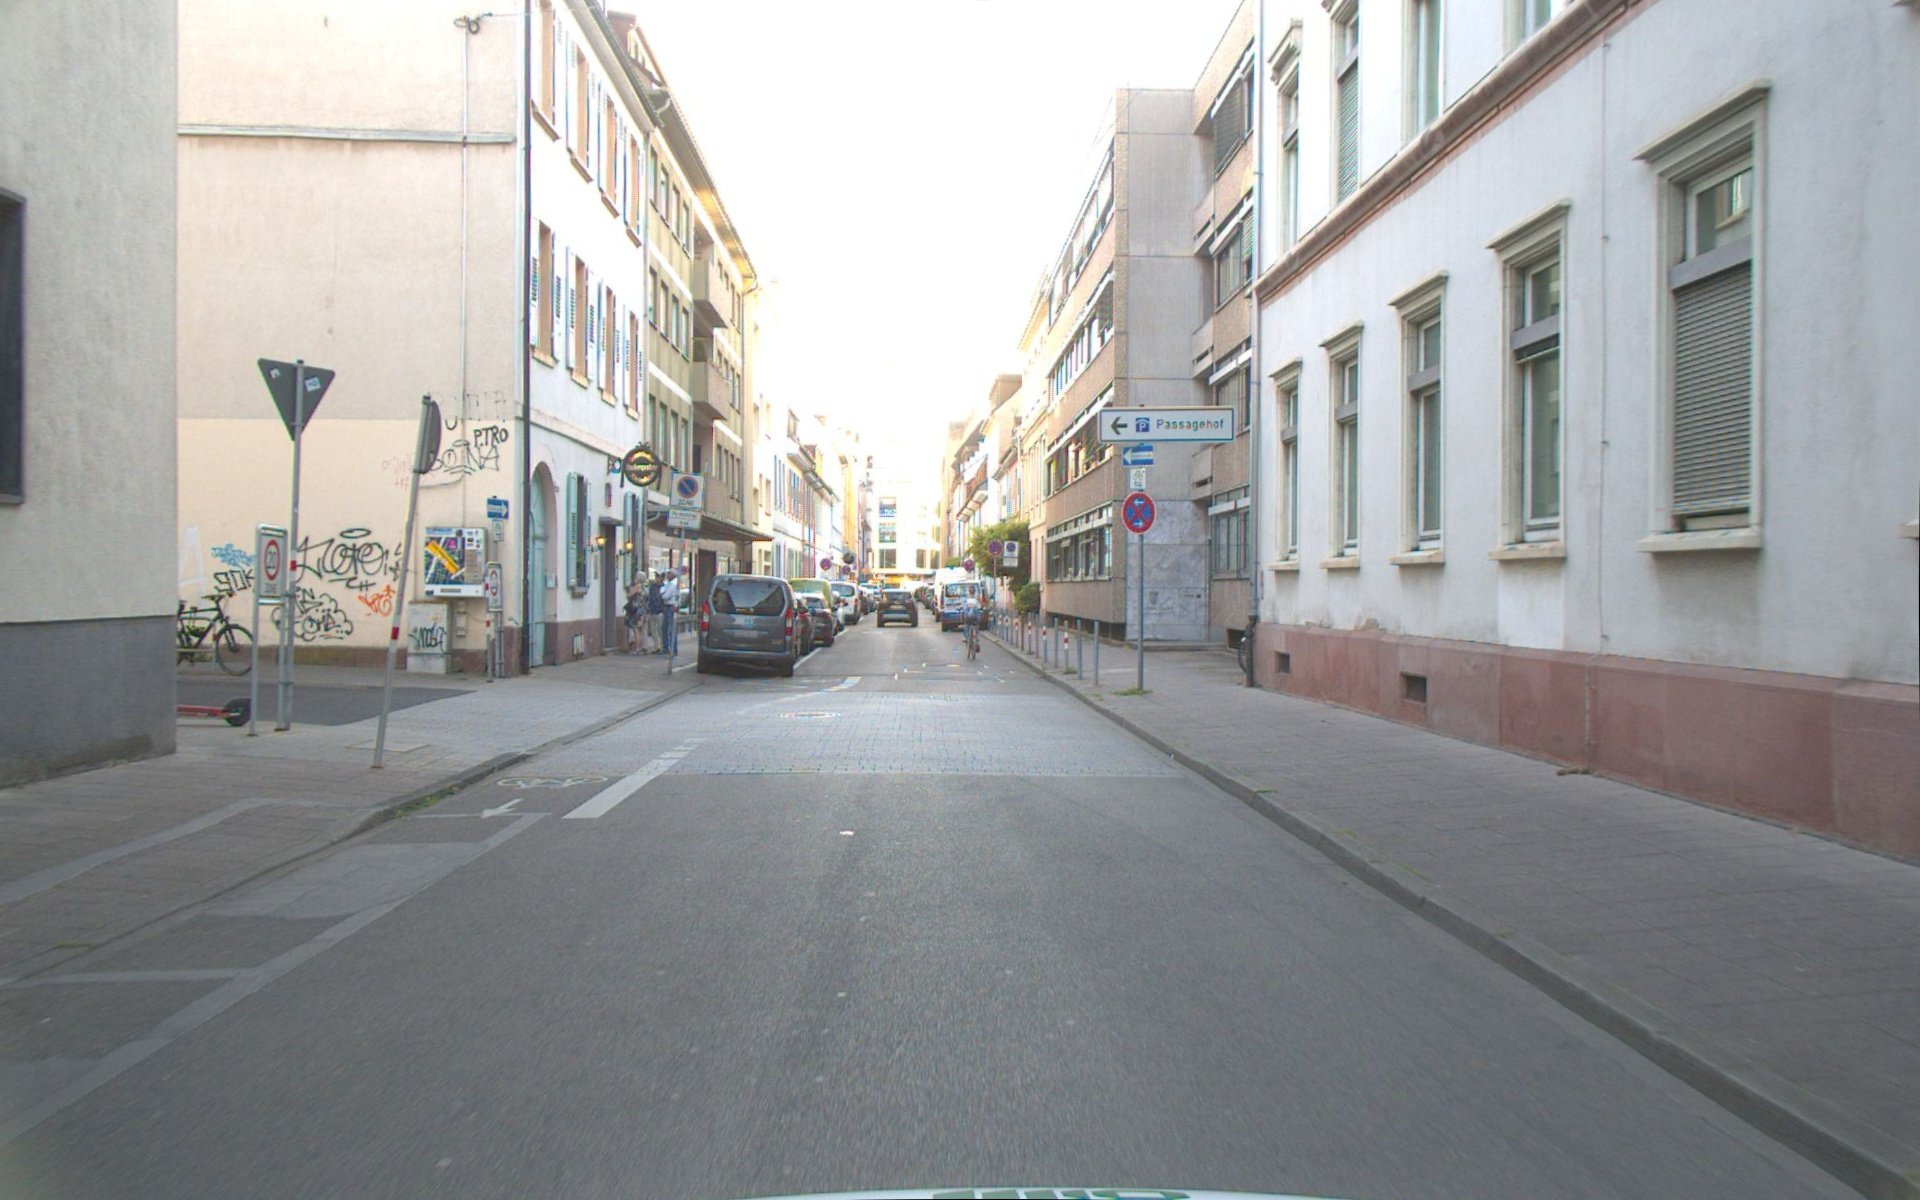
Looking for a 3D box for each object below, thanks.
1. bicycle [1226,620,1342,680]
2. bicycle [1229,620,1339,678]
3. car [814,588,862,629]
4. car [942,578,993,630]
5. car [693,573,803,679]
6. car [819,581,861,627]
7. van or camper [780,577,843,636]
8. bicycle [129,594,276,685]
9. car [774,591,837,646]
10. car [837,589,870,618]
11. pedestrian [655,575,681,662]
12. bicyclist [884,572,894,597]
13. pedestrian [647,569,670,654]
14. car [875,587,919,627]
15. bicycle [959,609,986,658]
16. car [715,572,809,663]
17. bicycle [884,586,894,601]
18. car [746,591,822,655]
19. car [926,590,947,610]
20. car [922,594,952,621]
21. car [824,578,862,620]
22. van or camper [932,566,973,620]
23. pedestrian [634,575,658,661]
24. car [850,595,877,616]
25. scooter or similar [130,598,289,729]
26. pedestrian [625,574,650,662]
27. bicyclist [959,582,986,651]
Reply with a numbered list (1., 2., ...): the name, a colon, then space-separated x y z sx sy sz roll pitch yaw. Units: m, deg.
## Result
1. bicycle: 5.223 0.805 26.661 1.762 0.939 0.537 1 0 -10
2. bicycle: 5.376 0.807 27.483 1.707 0.939 0.537 1 0 -9
3. car: -4.681 0.319 63.844 1.629 1.474 3.519 4 0 -2
4. car: 0.264 0.139 65.400 1.897 1.931 5.275 0 0 -1
5. car: -3.956 0.451 31.452 1.840 1.843 4.446 1 0 -5
6. car: -5.510 0.166 76.451 1.825 2.049 5.103 0 0 -3
7. van or camper: -4.849 0.203 54.364 1.736 1.880 4.177 0 0 -1
8. bicycle: -10.732 0.544 23.444 1.885 1.238 0.628 1 0 13
9. car: -4.281 0.491 46.296 1.592 1.440 3.978 1 0 -3
10. car: -6.445 0.190 100.614 1.766 1.706 4.489 0 0 0
11. pedestrian: -6.046 0.375 34.261 0.440 1.780 0.470 1 0 -1
12. bicyclist: -4.725 -1.024 109.681 0.611 1.668 1.081 1 0 -2
13. pedestrian: -6.398 0.246 35.104 0.398 1.780 0.470 1 0 0
14. car: -2.714 0.298 71.286 1.783 1.646 3.998 2 0 -2
15. bicycle: 0.286 0.776 38.907 0.601 1.101 1.809 1 0 -1
16. car: -4.309 0.359 36.573 1.737 1.843 4.508 1 0 -3
17. bicycle: -4.735 -0.439 109.736 0.621 0.938 1.779 1 0 -1
18. car: -4.355 0.547 41.356 1.591 1.511 3.876 0 0 -2
19. car: -1.932 0.024 135.236 1.620 1.588 3.604 2 0 -2
20. car: -1.428 0.487 105.087 1.782 1.556 5.070 -3 0 0
21. car: -5.842 -0.064 83.236 1.825 2.049 4.811 0 0 -3
22. van or camper: -0.430 -0.369 85.404 2.008 2.683 7.061 0 0 -1
23. pedestrian: -6.550 0.369 34.484 0.398 1.780 0.470 1 0 0
24. car: -6.932 0.374 118.419 1.880 1.459 4.291 2 0 -3
25. scooter or similar: -7.417 0.628 16.370 1.344 1.222 0.528 4 -2 -26
26. pedestrian: -6.618 0.368 33.987 0.398 1.780 0.470 1 0 0
27. bicyclist: 0.293 0.395 38.962 0.608 1.602 0.683 1 0 -1
